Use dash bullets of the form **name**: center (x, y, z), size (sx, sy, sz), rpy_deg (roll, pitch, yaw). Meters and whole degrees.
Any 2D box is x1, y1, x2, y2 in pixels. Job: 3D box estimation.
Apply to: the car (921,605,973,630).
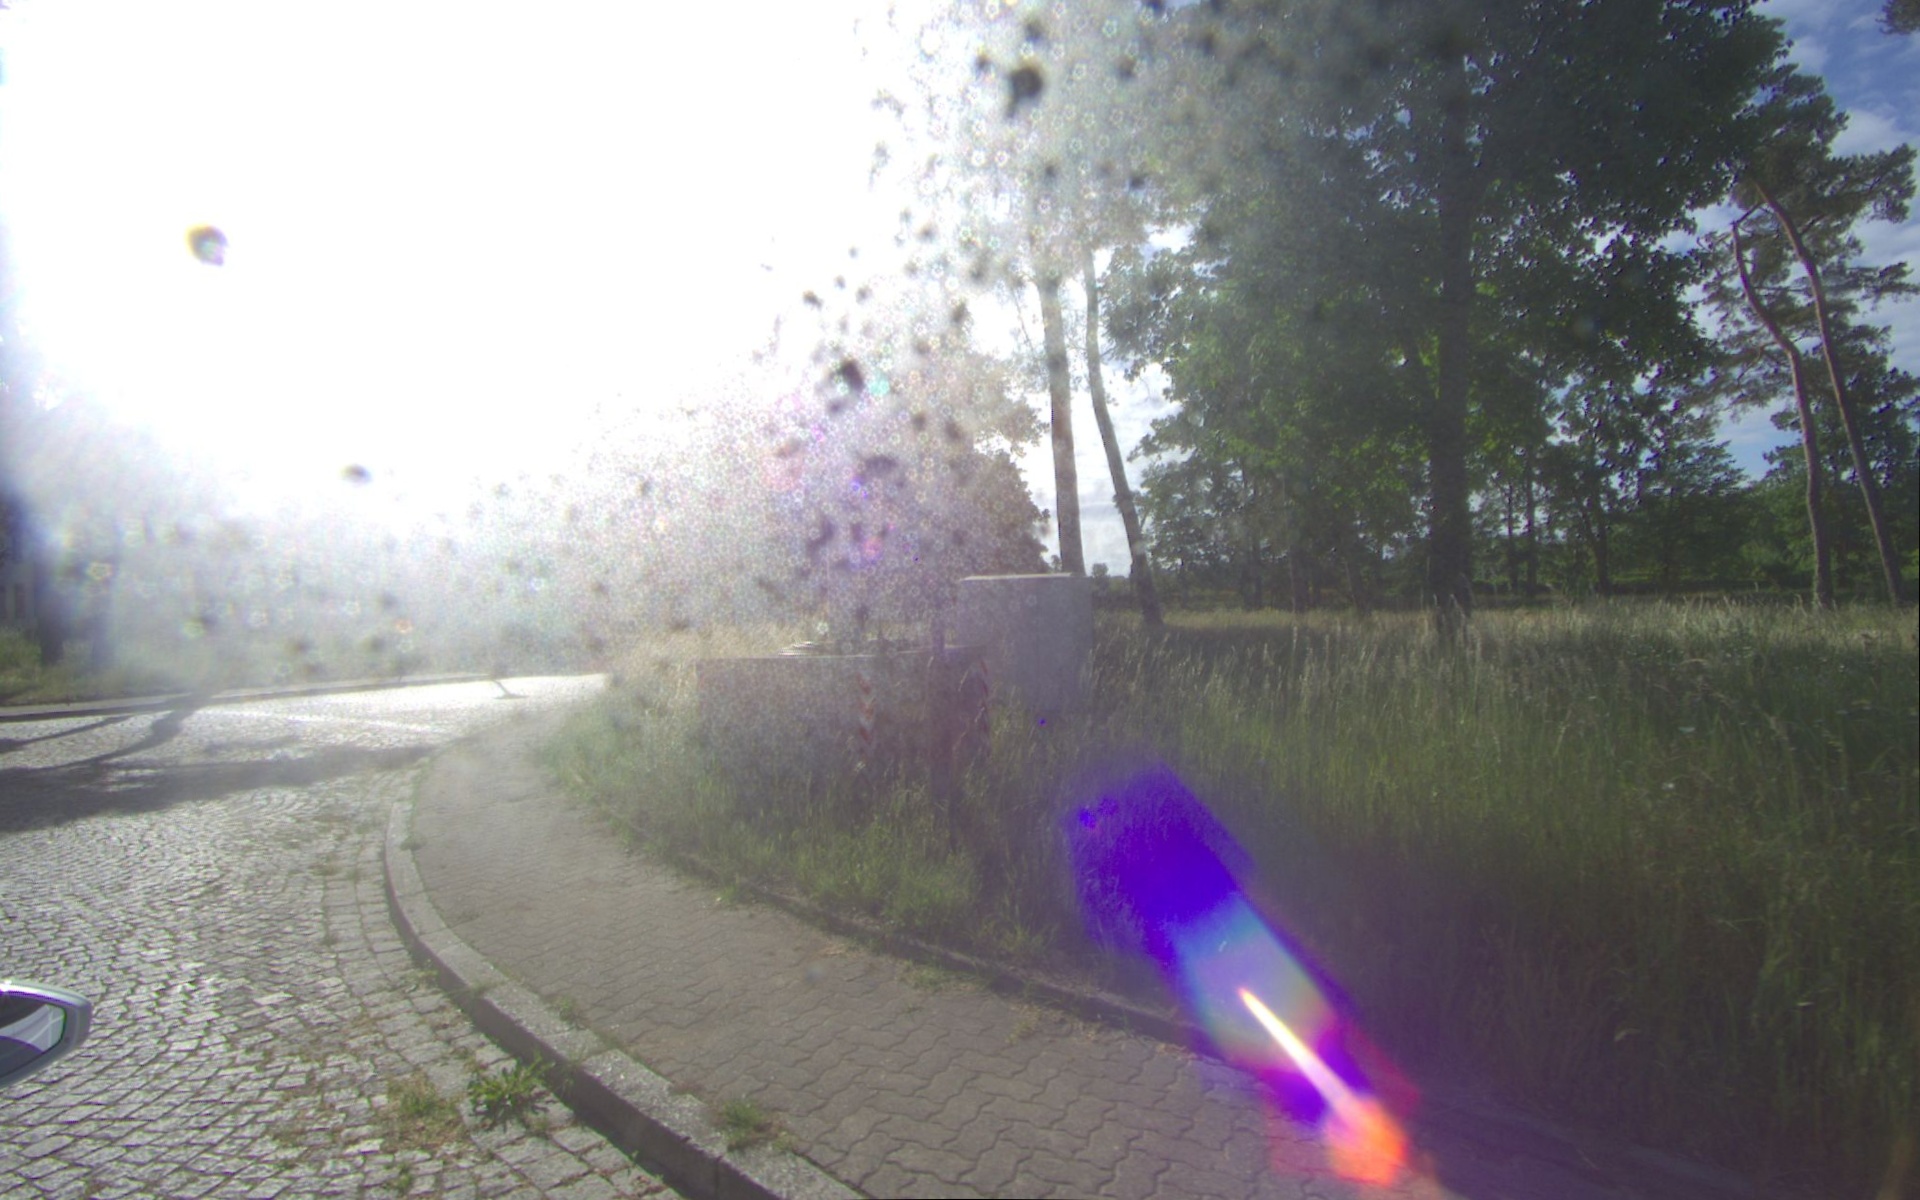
- **car**: center (-0.789, 1.122, 64.876), size (1.817, 1.483, 3.986), rpy_deg (-1, 0, 25)
